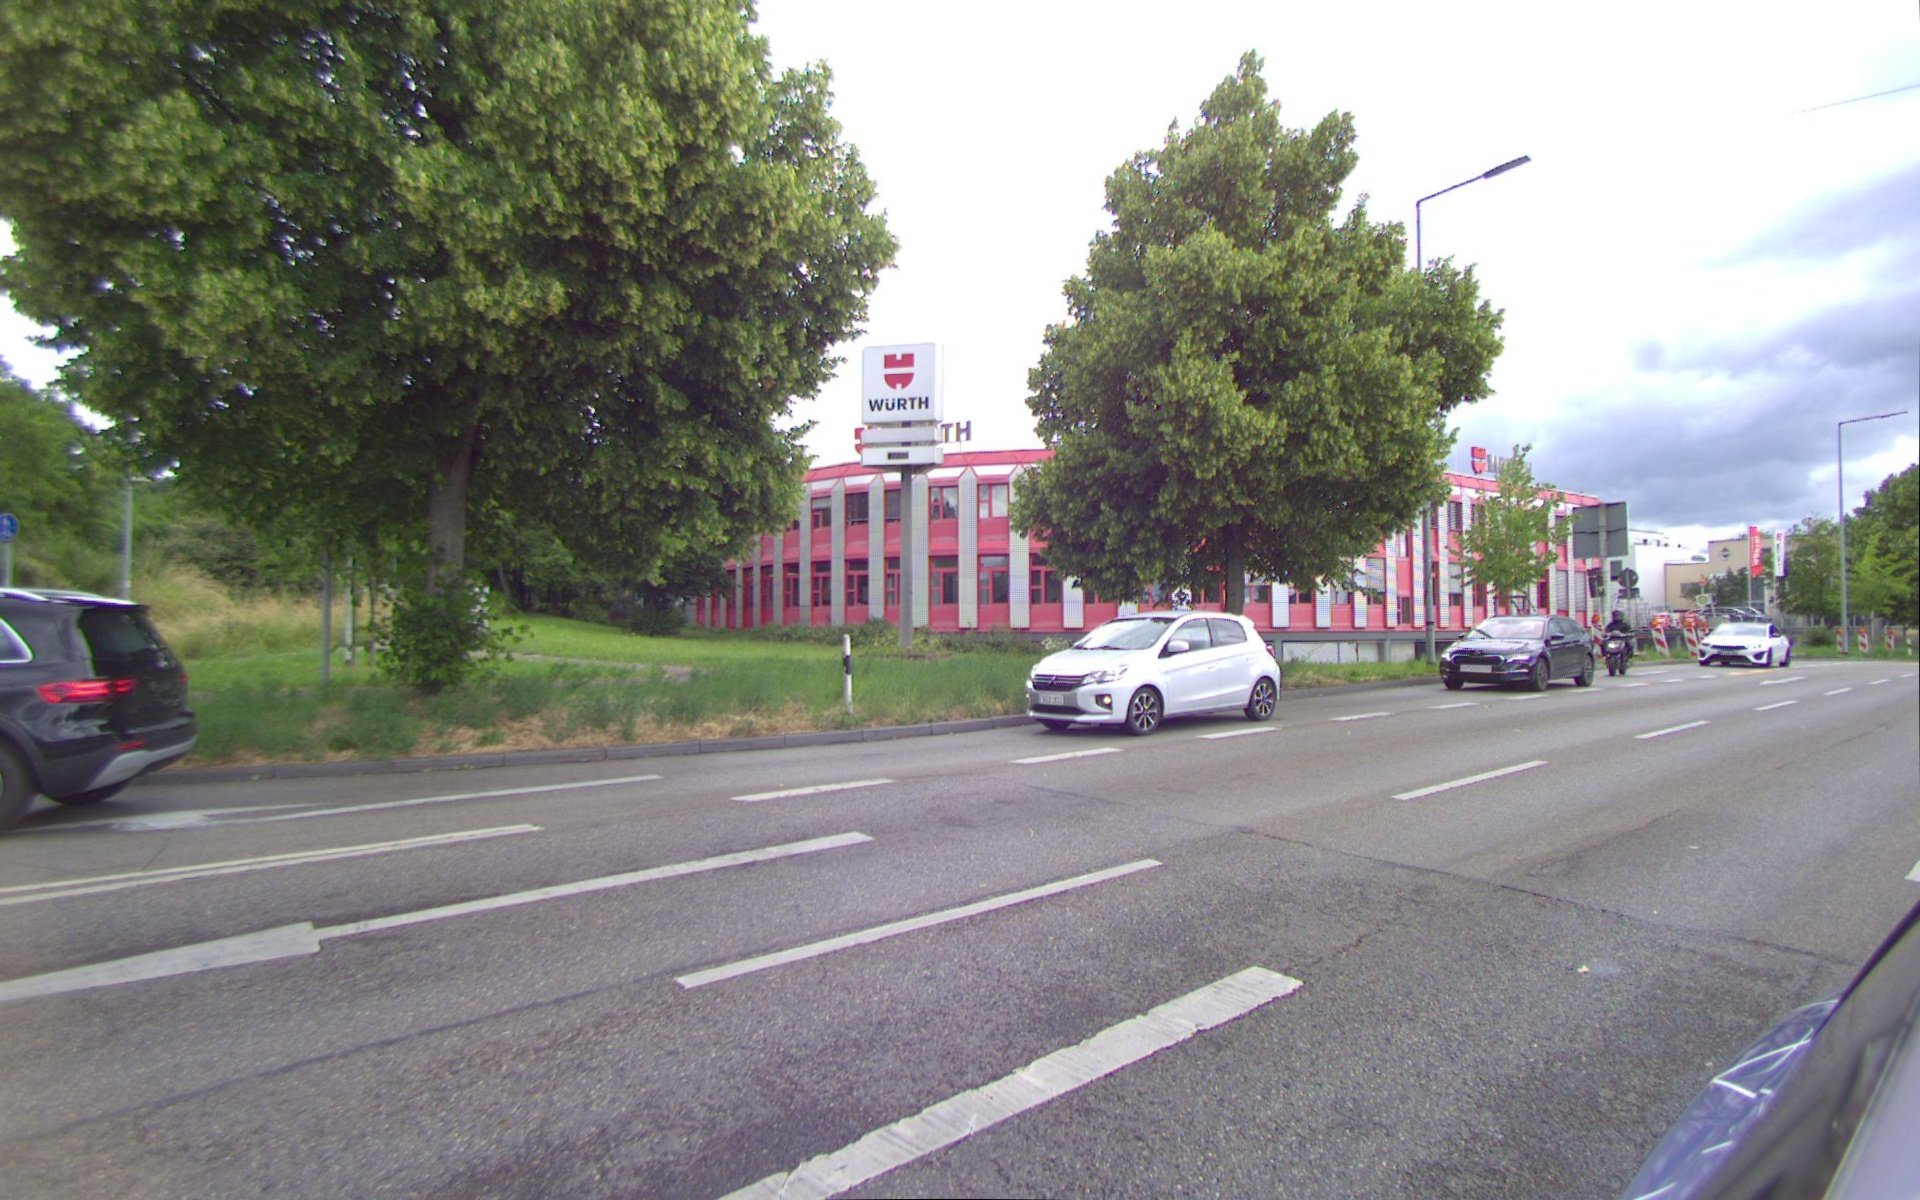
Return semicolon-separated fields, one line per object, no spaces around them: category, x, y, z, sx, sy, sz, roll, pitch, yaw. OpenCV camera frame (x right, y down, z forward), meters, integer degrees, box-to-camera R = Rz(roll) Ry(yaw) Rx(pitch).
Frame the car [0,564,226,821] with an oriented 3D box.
car;-7.946;0.681;6.971;4.332;1.671;1.789;-1;-3;-19

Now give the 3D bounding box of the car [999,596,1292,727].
car;2.492;0.769;13.209;3.765;1.462;1.784;2;-3;-40

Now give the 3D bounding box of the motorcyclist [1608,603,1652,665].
motorcyclist;16.827;0.851;25.422;0.747;1.510;0.919;-2;-3;43

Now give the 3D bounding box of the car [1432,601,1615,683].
car;11.389;0.841;20.319;4.447;1.465;1.784;3;-2;-40

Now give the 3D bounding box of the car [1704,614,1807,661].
car;25.415;1.199;32.300;4.399;1.380;1.784;3;-2;-41

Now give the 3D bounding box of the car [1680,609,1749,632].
car;61.794;1.682;82.966;1.752;1.776;4.247;0;0;-39

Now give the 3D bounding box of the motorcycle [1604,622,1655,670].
motorcycle;16.823;1.147;25.405;0.747;1.162;1.913;-2;-3;42
